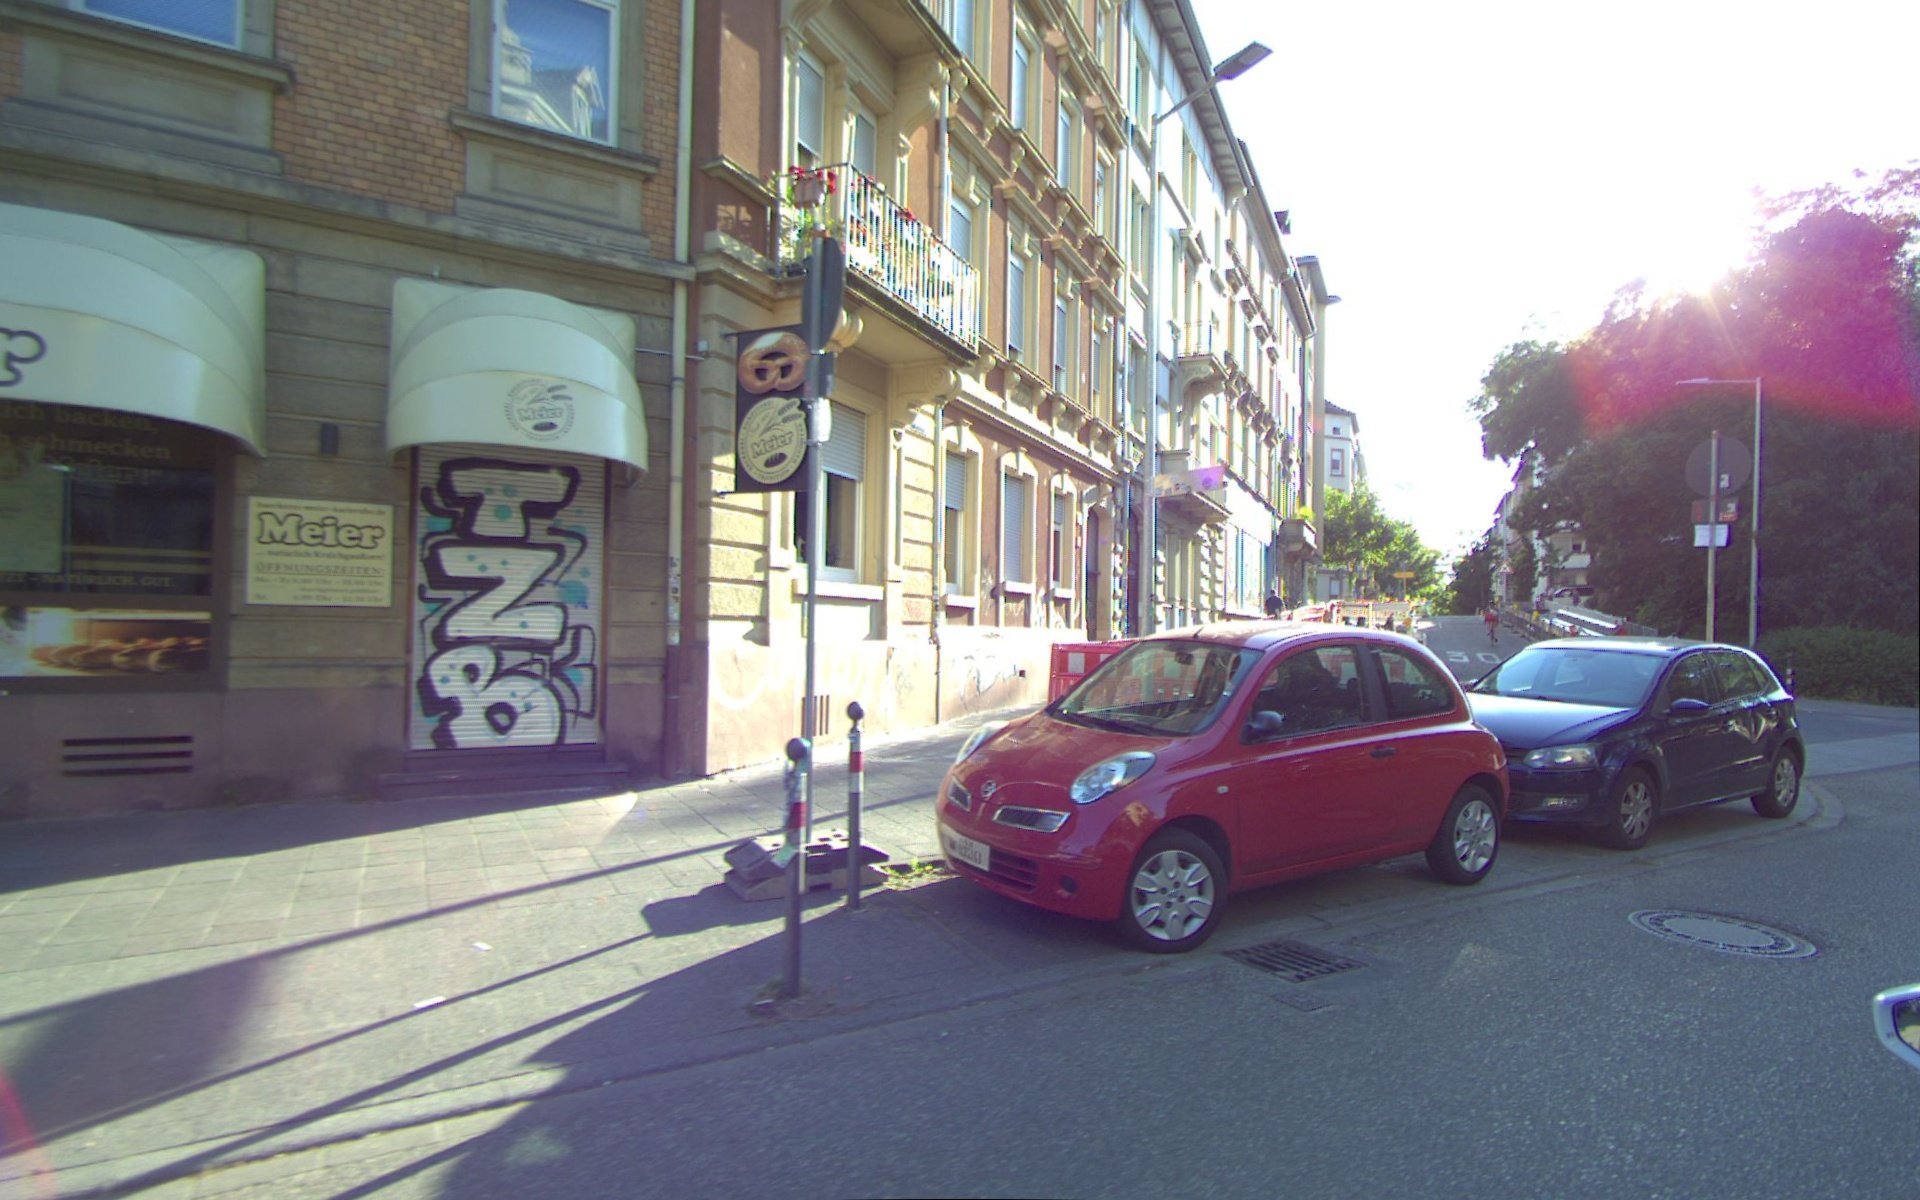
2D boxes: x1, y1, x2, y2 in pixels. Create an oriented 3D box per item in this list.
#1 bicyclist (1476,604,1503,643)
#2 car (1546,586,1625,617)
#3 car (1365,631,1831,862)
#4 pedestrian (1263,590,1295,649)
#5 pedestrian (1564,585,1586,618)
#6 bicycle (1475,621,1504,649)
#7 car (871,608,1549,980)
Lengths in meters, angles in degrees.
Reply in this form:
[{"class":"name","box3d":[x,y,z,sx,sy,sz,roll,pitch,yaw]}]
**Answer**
[{"class":"bicyclist","box3d":[19.294,0.851,36.608,0.790,1.402,0.984,1,0,25]},{"class":"car","box3d":[41.803,0.082,67.181,4.315,2.040,1.926,1,0,39]},{"class":"car","box3d":[5.345,1.025,8.306,3.954,1.477,1.661,1,-1,-31]},{"class":"pedestrian","box3d":[11.250,0.679,35.382,0.925,2.040,0.958,0,-1,26]},{"class":"pedestrian","box3d":[33.869,0.100,55.340,0.843,1.786,1.092,1,0,23]},{"class":"bicycle","box3d":[19.248,1.258,36.529,0.790,0.981,2.107,1,0,24]},{"class":"car","box3d":[1.613,0.861,5.971,3.956,1.550,1.660,2,-1,-33]}]
